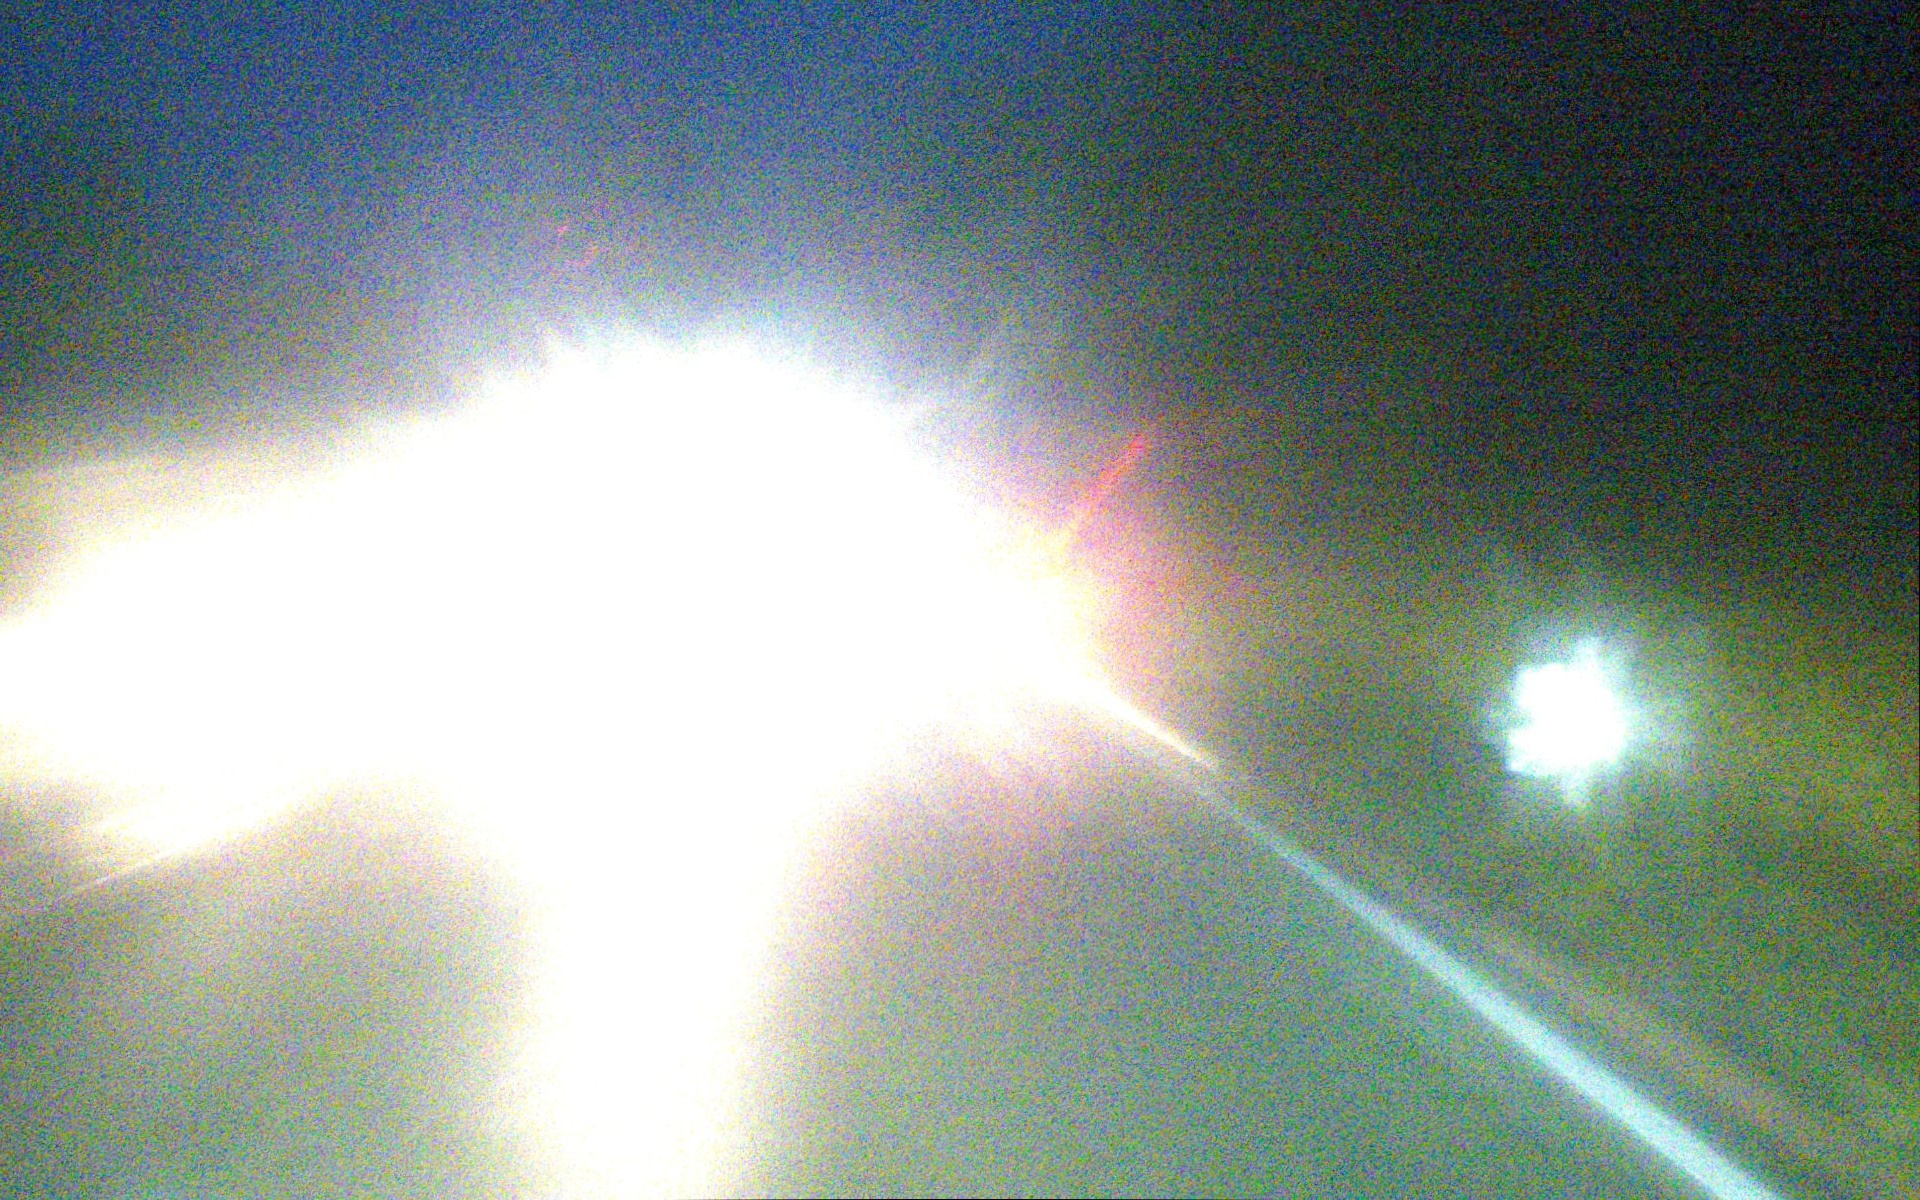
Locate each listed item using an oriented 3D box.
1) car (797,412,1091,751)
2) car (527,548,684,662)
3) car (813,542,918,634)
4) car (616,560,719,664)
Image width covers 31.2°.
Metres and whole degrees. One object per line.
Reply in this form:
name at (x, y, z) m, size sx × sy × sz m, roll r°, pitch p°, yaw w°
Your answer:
car at (-0.149, -0.240, 29.147) m, size 2.181 × 2.548 × 4.508 m, roll 3°, pitch 2°, yaw -1°
car at (-4.822, 0.060, 47.168) m, size 1.843 × 1.499 × 3.710 m, roll 0°, pitch 0°, yaw -1°
car at (-1.580, -0.205, 58.258) m, size 1.707 × 1.499 × 3.606 m, roll 0°, pitch 0°, yaw -1°
car at (-5.766, 0.207, 68.113) m, size 1.836 × 1.837 × 4.001 m, roll -1°, pitch 3°, yaw -2°
